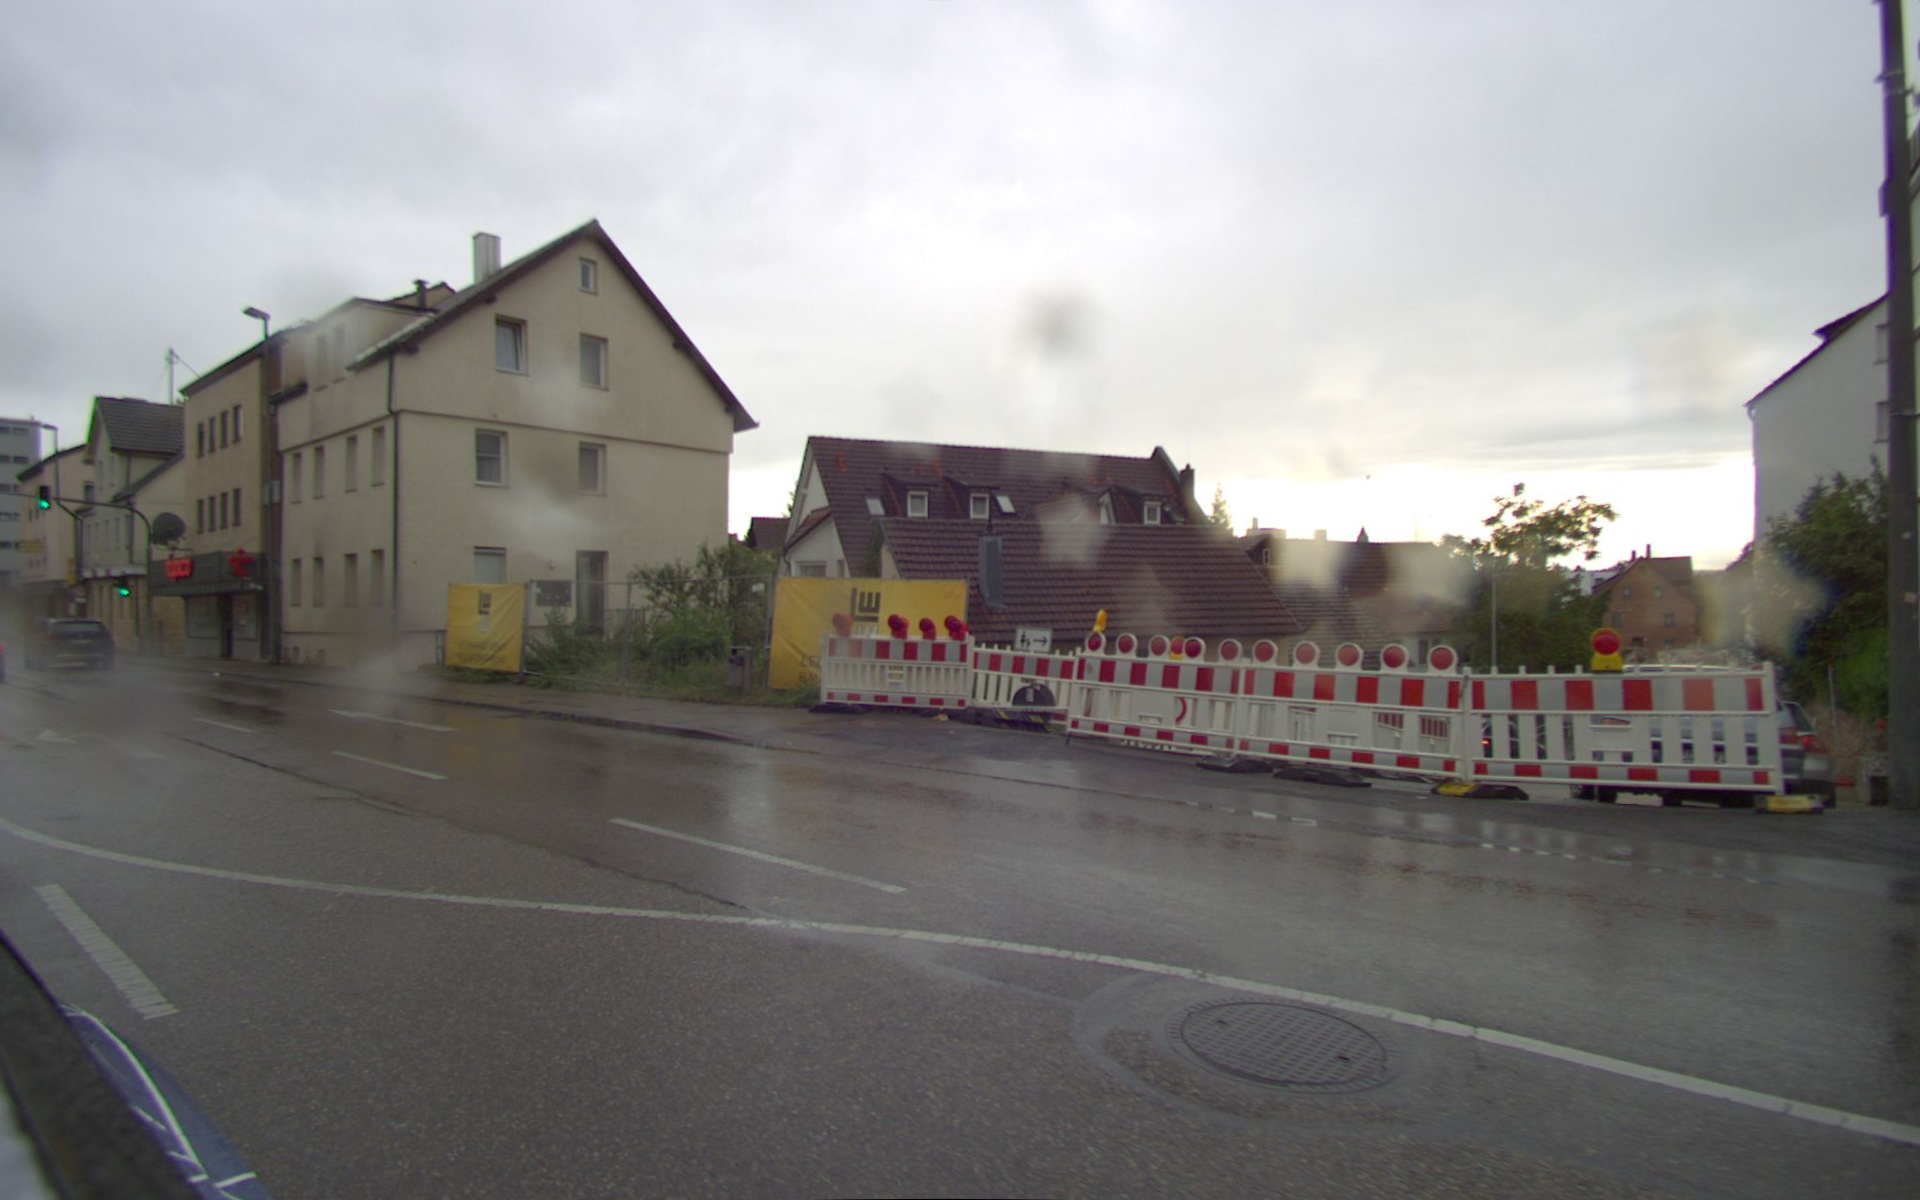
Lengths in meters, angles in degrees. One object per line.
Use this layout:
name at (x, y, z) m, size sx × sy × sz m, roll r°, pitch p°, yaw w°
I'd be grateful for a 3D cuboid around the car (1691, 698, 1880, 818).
car at (10.485, 2.010, 13.076) m, size 1.496 × 1.321 × 3.417 m, roll -4°, pitch -9°, yaw 33°

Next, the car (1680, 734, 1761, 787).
car at (20.675, 4.357, 27.602) m, size 1.496 × 1.321 × 3.417 m, roll -4°, pitch -9°, yaw 33°

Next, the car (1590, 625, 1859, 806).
car at (7.116, 1.158, 9.775) m, size 1.645 × 1.401 × 3.473 m, roll -3°, pitch -9°, yaw 31°

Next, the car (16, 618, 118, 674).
car at (-27.593, 1.378, 31.241) m, size 4.273 × 1.583 × 1.797 m, roll -2°, pitch -2°, yaw 41°
